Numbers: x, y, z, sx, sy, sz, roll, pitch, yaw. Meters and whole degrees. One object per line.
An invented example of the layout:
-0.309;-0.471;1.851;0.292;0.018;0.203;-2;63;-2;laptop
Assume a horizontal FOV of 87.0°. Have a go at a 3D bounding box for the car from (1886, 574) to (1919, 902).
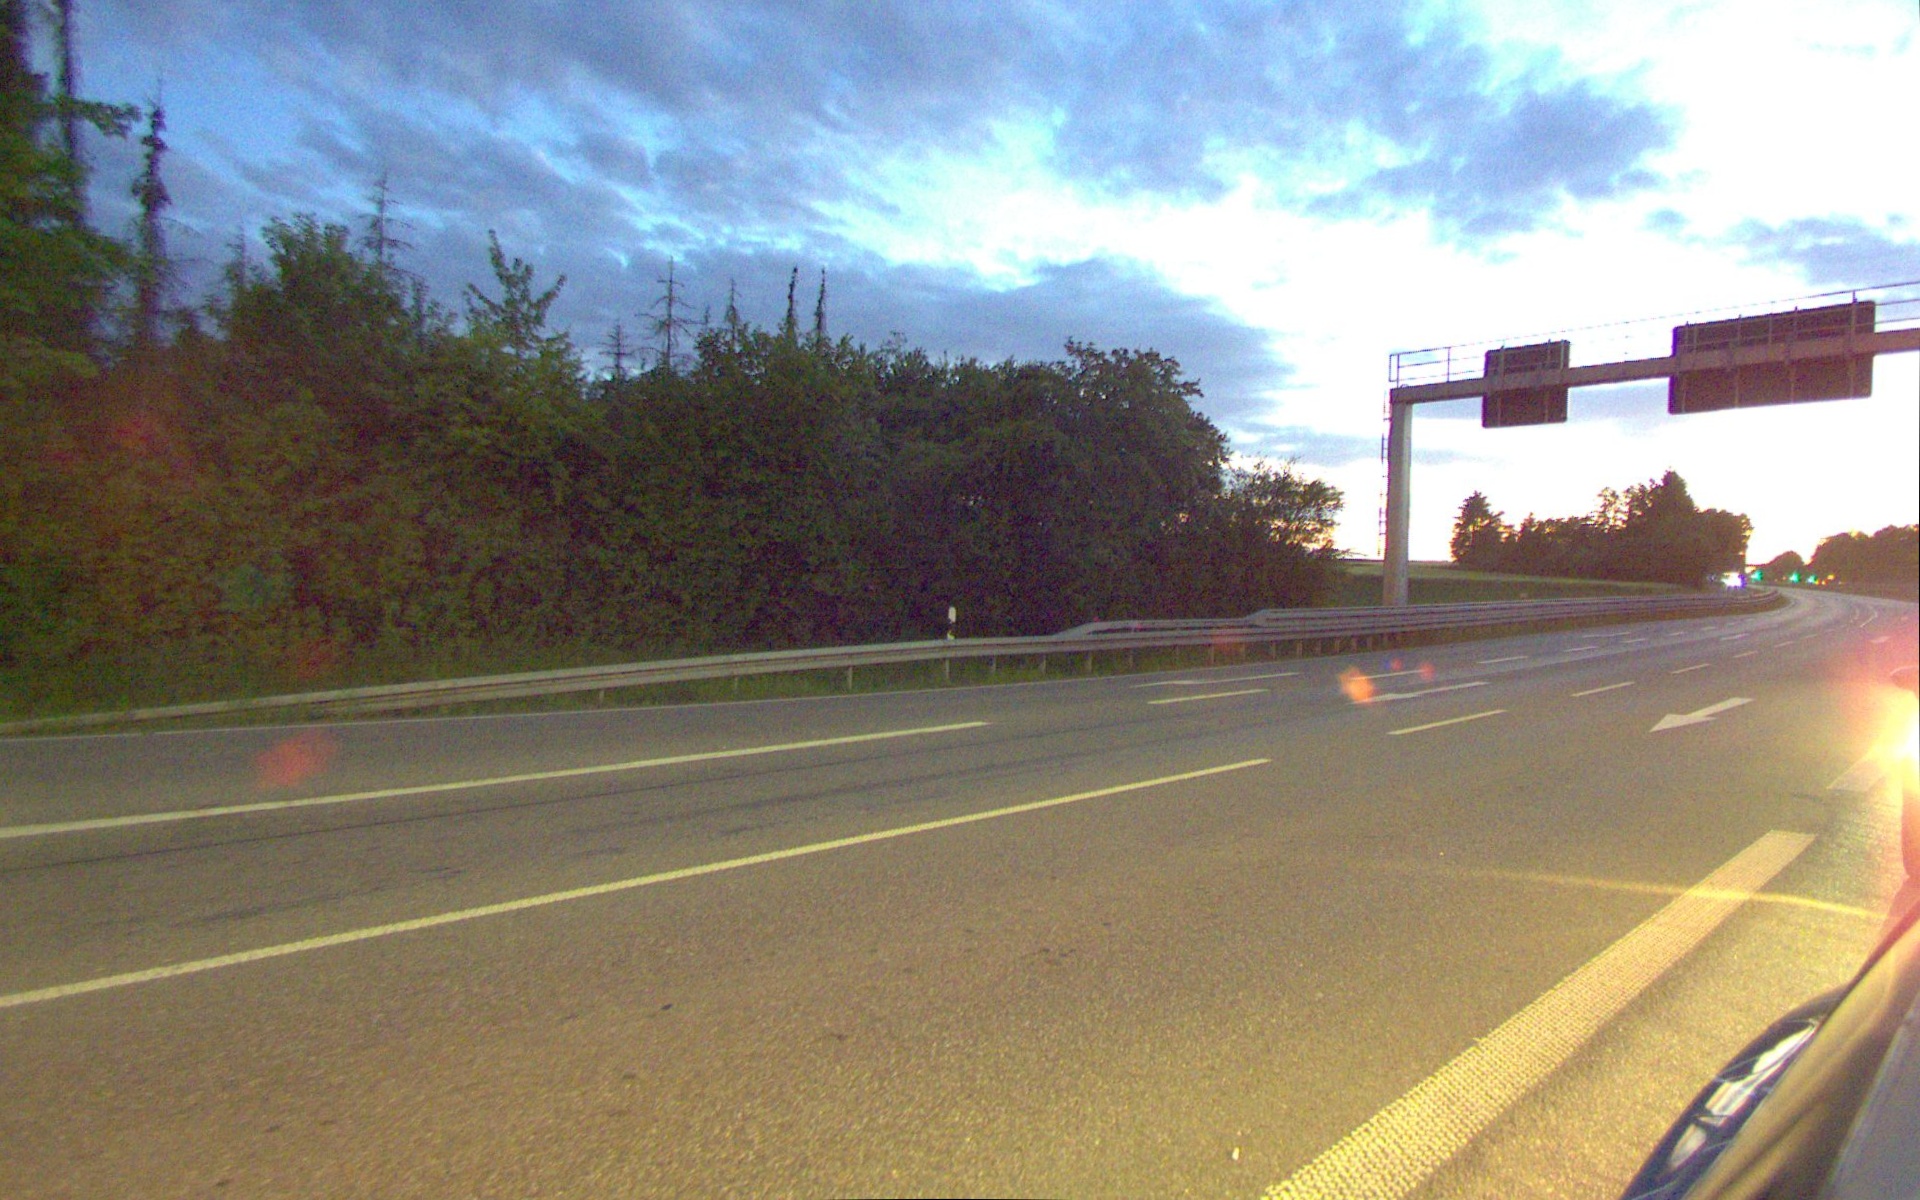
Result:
6.279;0.626;5.209;3.707;1.499;1.670;0;1;-38;car
